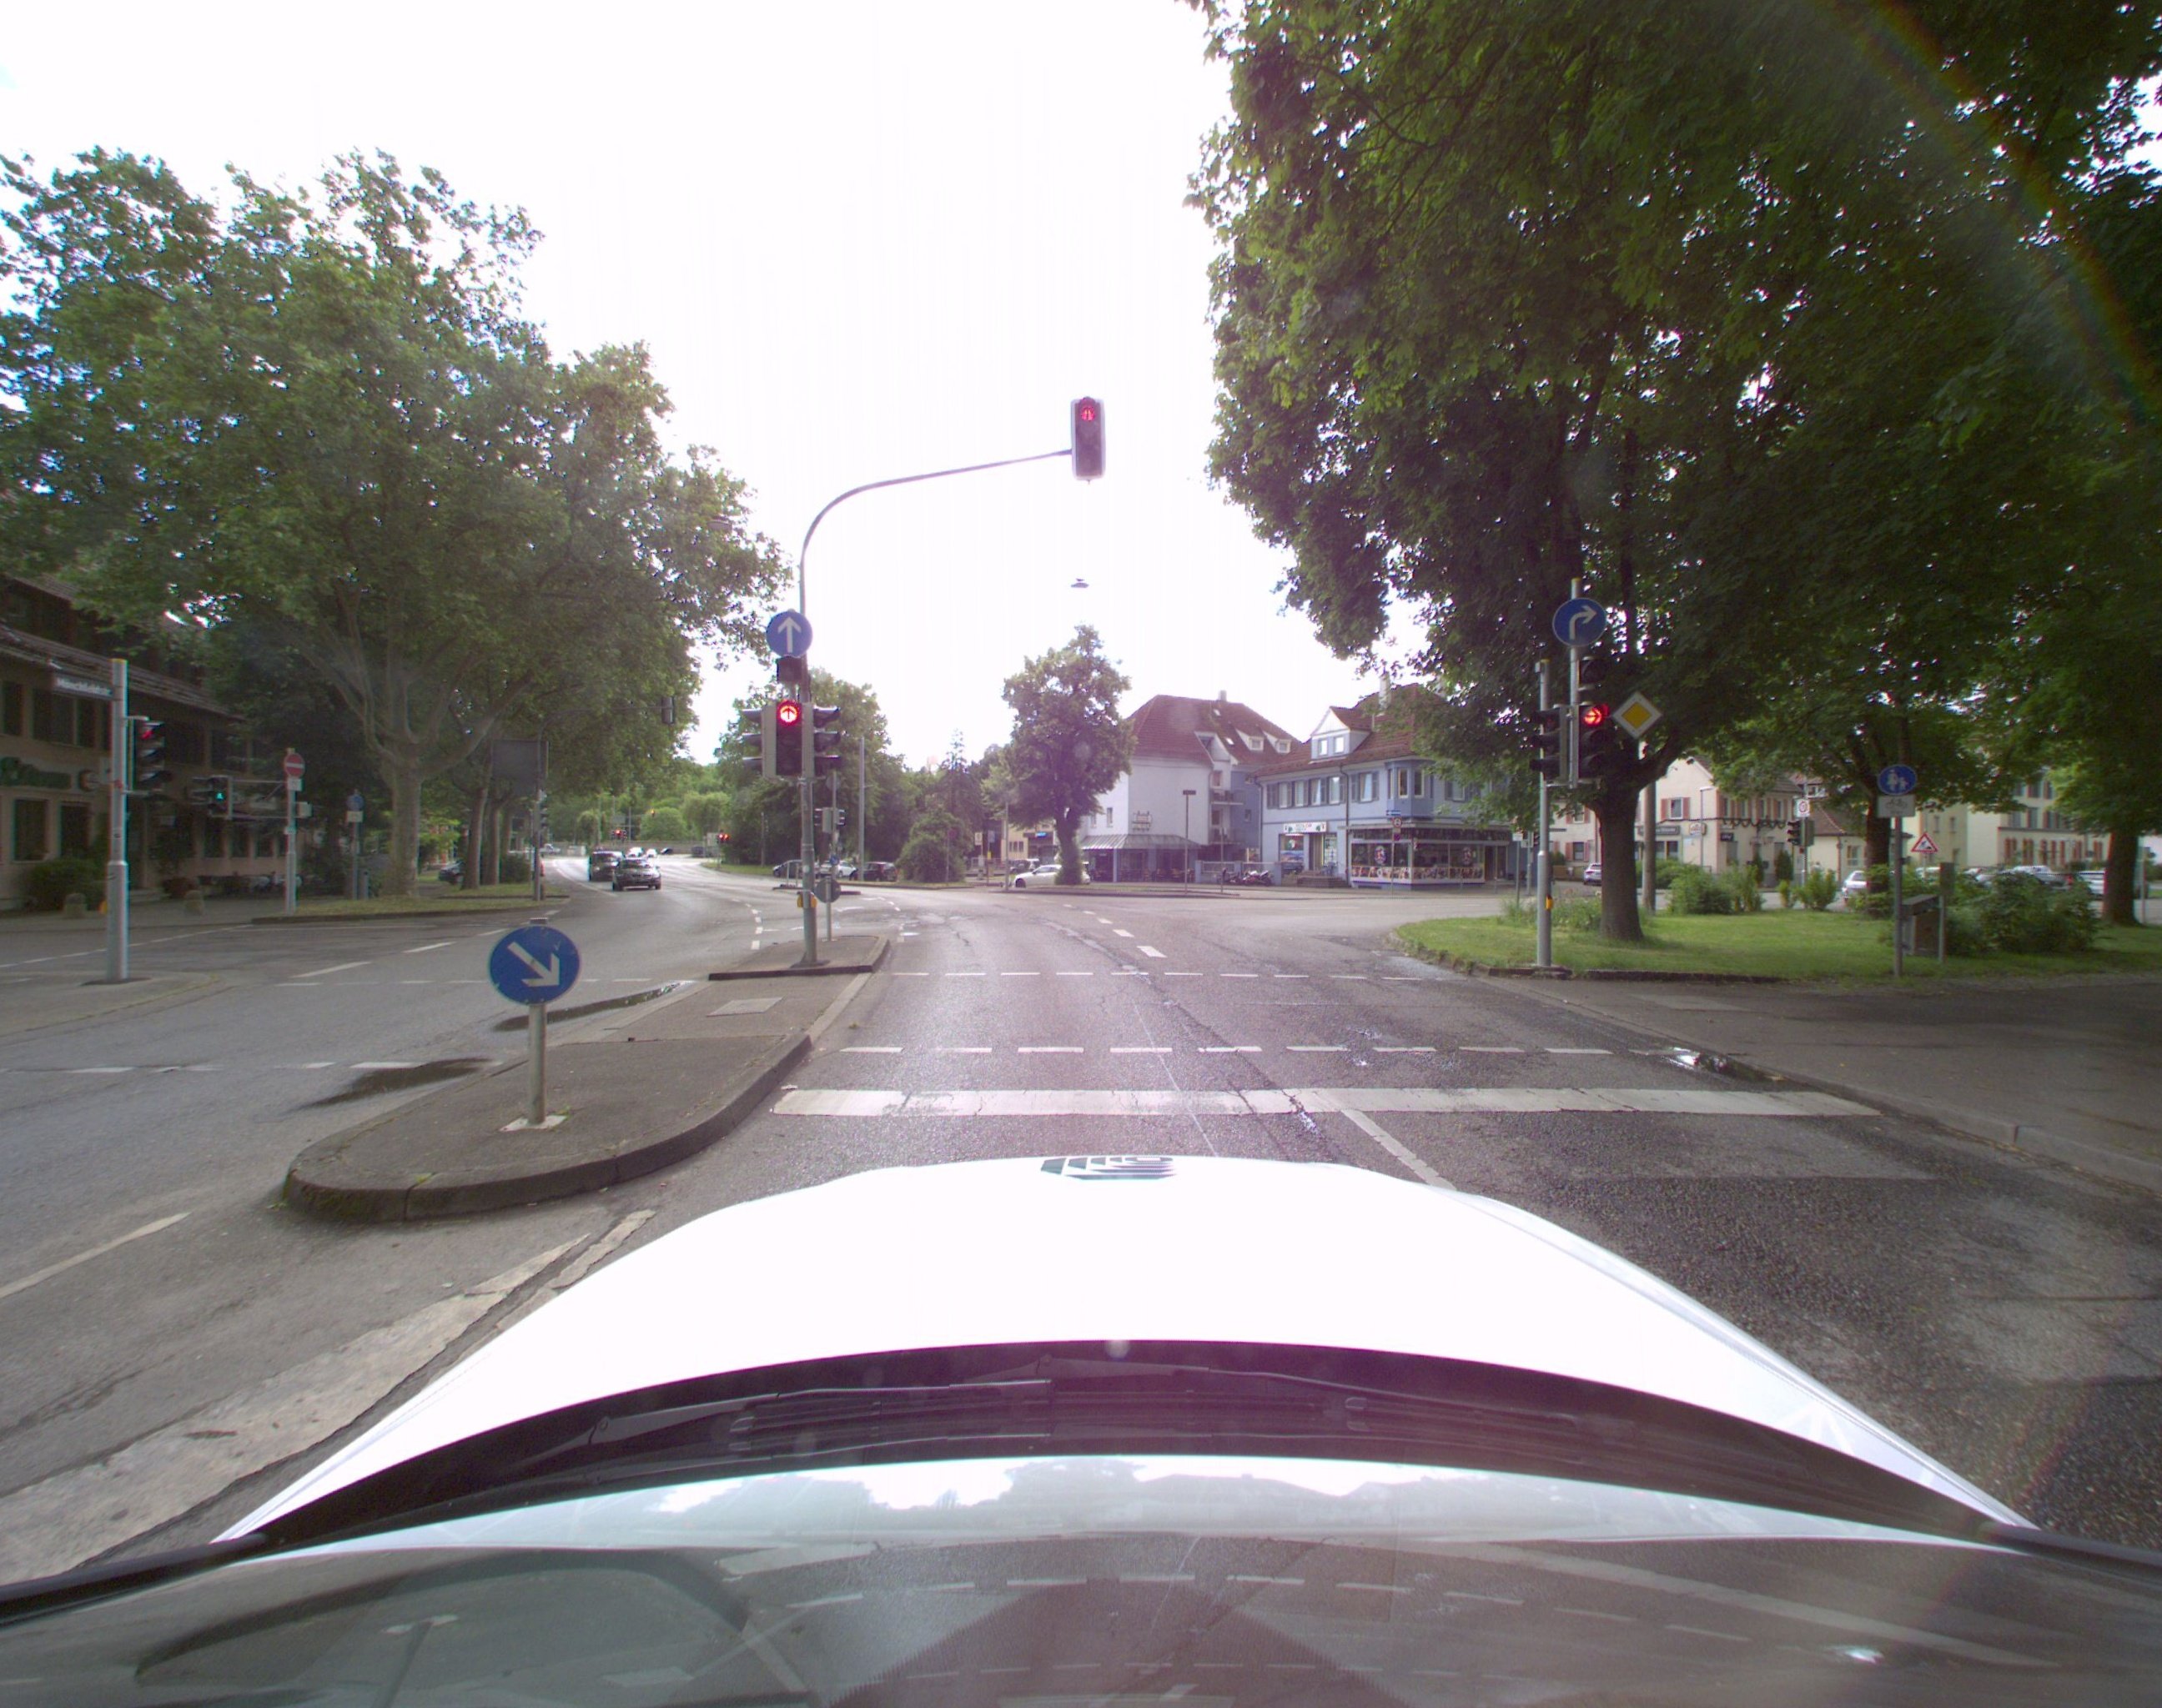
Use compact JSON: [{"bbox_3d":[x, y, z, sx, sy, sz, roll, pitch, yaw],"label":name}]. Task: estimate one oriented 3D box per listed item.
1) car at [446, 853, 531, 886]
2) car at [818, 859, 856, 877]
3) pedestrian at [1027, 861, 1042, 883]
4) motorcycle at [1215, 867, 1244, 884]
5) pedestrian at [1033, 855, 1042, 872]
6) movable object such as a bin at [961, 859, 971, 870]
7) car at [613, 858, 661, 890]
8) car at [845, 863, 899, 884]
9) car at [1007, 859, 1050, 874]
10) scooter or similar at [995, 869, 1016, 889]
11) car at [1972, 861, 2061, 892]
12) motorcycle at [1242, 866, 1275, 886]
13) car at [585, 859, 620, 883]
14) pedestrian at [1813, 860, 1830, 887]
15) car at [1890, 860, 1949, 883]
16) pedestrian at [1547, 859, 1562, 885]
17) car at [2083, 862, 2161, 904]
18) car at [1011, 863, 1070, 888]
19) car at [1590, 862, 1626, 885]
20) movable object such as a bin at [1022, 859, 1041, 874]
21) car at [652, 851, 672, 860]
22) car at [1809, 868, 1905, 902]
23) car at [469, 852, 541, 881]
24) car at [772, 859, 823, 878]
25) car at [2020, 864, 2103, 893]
[{"bbox_3d":[-31.000,0.787,42.714,3.461,1.641,1.557,0,-1,-31],"label":"car"},{"bbox_3d":[-20.077,1.134,67.183,1.534,1.464,3.407,0,0,13],"label":"car"},{"bbox_3d":[-3.332,1.310,58.255,0.759,1.545,0.682,-1,-1,41],"label":"pedestrian"},{"bbox_3d":[9.115,1.315,50.072,0.699,1.064,1.617,0,-1,-44],"label":"motorcycle"},{"bbox_3d":[-4.023,0.854,75.318,0.671,1.545,0.710,0,-1,14],"label":"pedestrian"},{"bbox_3d":[-12.218,1.124,86.635,0.953,1.115,0.381,0,-1,-19],"label":"movable object such as a bin"},{"bbox_3d":[-20.751,0.936,38.029,1.440,1.416,2.838,0,-1,-39],"label":"car"},{"bbox_3d":[-13.905,1.269,54.201,3.549,1.394,1.481,0,-1,34],"label":"car"},{"bbox_3d":[-4.878,1.139,76.151,3.752,1.345,1.422,0,0,-25],"label":"car"},{"bbox_3d":[-3.976,1.292,42.877,0.413,1.011,1.575,-1,-1,22],"label":"scooter or similar"},{"bbox_3d":[42.217,0.976,36.744,3.510,1.321,1.549,0,0,-21],"label":"car"},{"bbox_3d":[10.536,1.289,48.258,1.777,1.121,0.699,0,-1,40],"label":"motorcycle"},{"bbox_3d":[-30.127,1.073,51.250,1.440,1.416,2.838,0,-1,-39],"label":"car"},{"bbox_3d":[45.227,1.171,49.746,0.611,1.649,0.606,0,-1,-27],"label":"pedestrian"},{"bbox_3d":[55.117,1.127,53.522,4.007,1.420,1.544,0,0,-26],"label":"car"},{"bbox_3d":[28.254,1.073,48.616,0.584,1.517,0.459,-1,-1,-2],"label":"pedestrian"},{"bbox_3d":[52.832,1.435,41.117,4.004,2.014,1.770,0,-1,-23],"label":"car"},{"bbox_3d":[-2.307,1.204,46.234,3.134,1.354,1.448,0,-1,36],"label":"car"},{"bbox_3d":[32.604,1.185,50.334,1.481,1.369,3.198,-1,-1,40],"label":"car"},{"bbox_3d":[-4.521,1.137,74.244,1.447,1.409,0.959,0,-1,-25],"label":"movable object such as a bin"},{"bbox_3d":[-95.489,0.447,185.603,4.011,2.014,1.981,0,-1,-29],"label":"car"},{"bbox_3d":[31.963,1.252,33.561,3.511,1.321,1.549,0,0,-22],"label":"car"},{"bbox_3d":[-35.483,0.760,50.280,3.461,1.742,1.557,0,-1,-31],"label":"car"},{"bbox_3d":[-22.436,1.118,64.481,3.520,1.464,1.591,0,0,14],"label":"car"},{"bbox_3d":[47.004,1.167,39.051,3.511,1.321,1.549,0,0,-22],"label":"car"}]
